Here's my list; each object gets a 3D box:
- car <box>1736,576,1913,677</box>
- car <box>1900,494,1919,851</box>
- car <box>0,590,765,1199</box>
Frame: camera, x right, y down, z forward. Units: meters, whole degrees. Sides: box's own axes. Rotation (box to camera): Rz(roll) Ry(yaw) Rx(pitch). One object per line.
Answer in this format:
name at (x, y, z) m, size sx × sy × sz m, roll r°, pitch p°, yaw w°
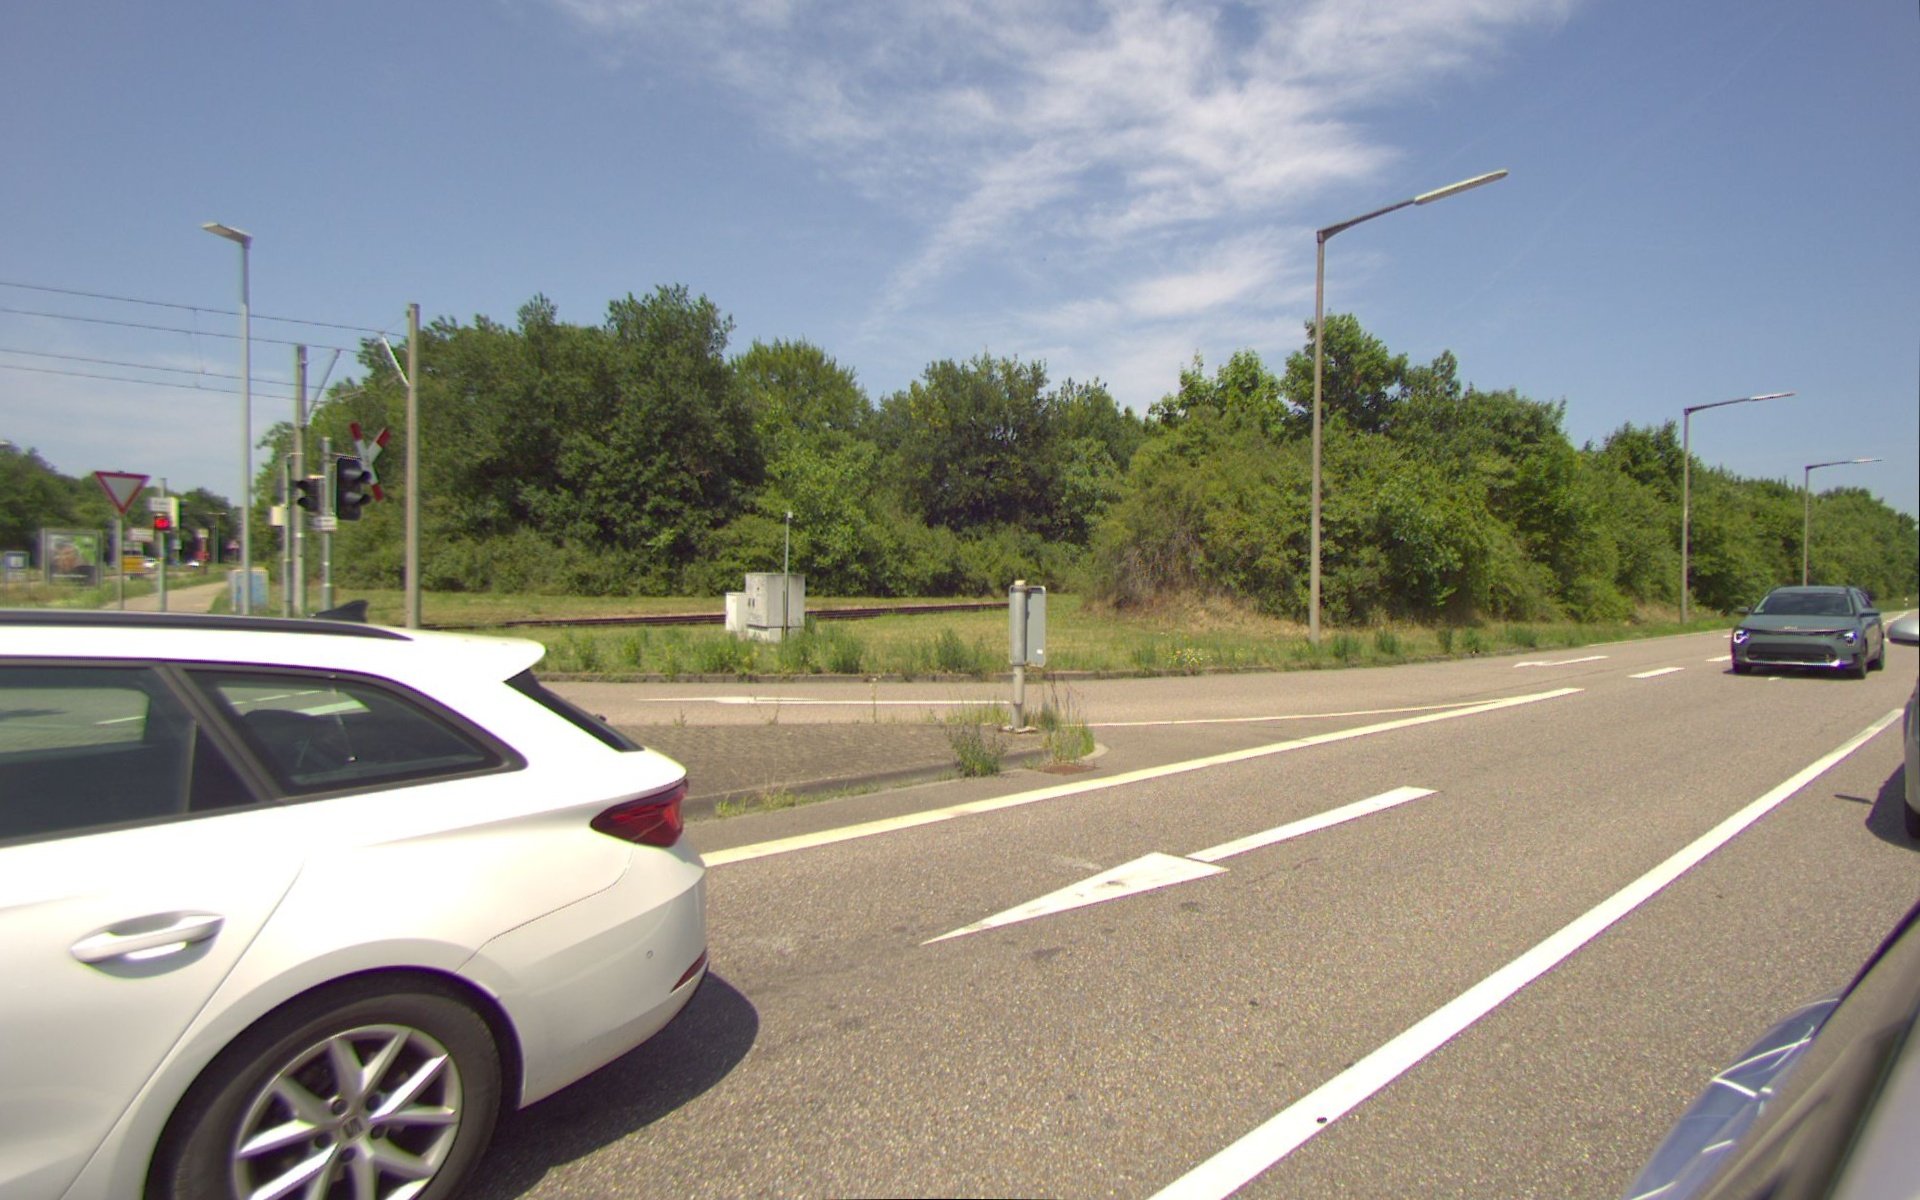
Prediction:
car at (15.630, 0.402, 18.234) m, size 3.928 × 1.616 × 1.723 m, roll 0°, pitch 2°, yaw -39°
car at (7.795, 0.379, 6.535) m, size 5.631 × 1.900 × 1.875 m, roll -1°, pitch 1°, yaw -40°
car at (-2.709, 0.704, 1.949) m, size 4.375 × 1.407 × 1.684 m, roll -1°, pitch 1°, yaw -43°
